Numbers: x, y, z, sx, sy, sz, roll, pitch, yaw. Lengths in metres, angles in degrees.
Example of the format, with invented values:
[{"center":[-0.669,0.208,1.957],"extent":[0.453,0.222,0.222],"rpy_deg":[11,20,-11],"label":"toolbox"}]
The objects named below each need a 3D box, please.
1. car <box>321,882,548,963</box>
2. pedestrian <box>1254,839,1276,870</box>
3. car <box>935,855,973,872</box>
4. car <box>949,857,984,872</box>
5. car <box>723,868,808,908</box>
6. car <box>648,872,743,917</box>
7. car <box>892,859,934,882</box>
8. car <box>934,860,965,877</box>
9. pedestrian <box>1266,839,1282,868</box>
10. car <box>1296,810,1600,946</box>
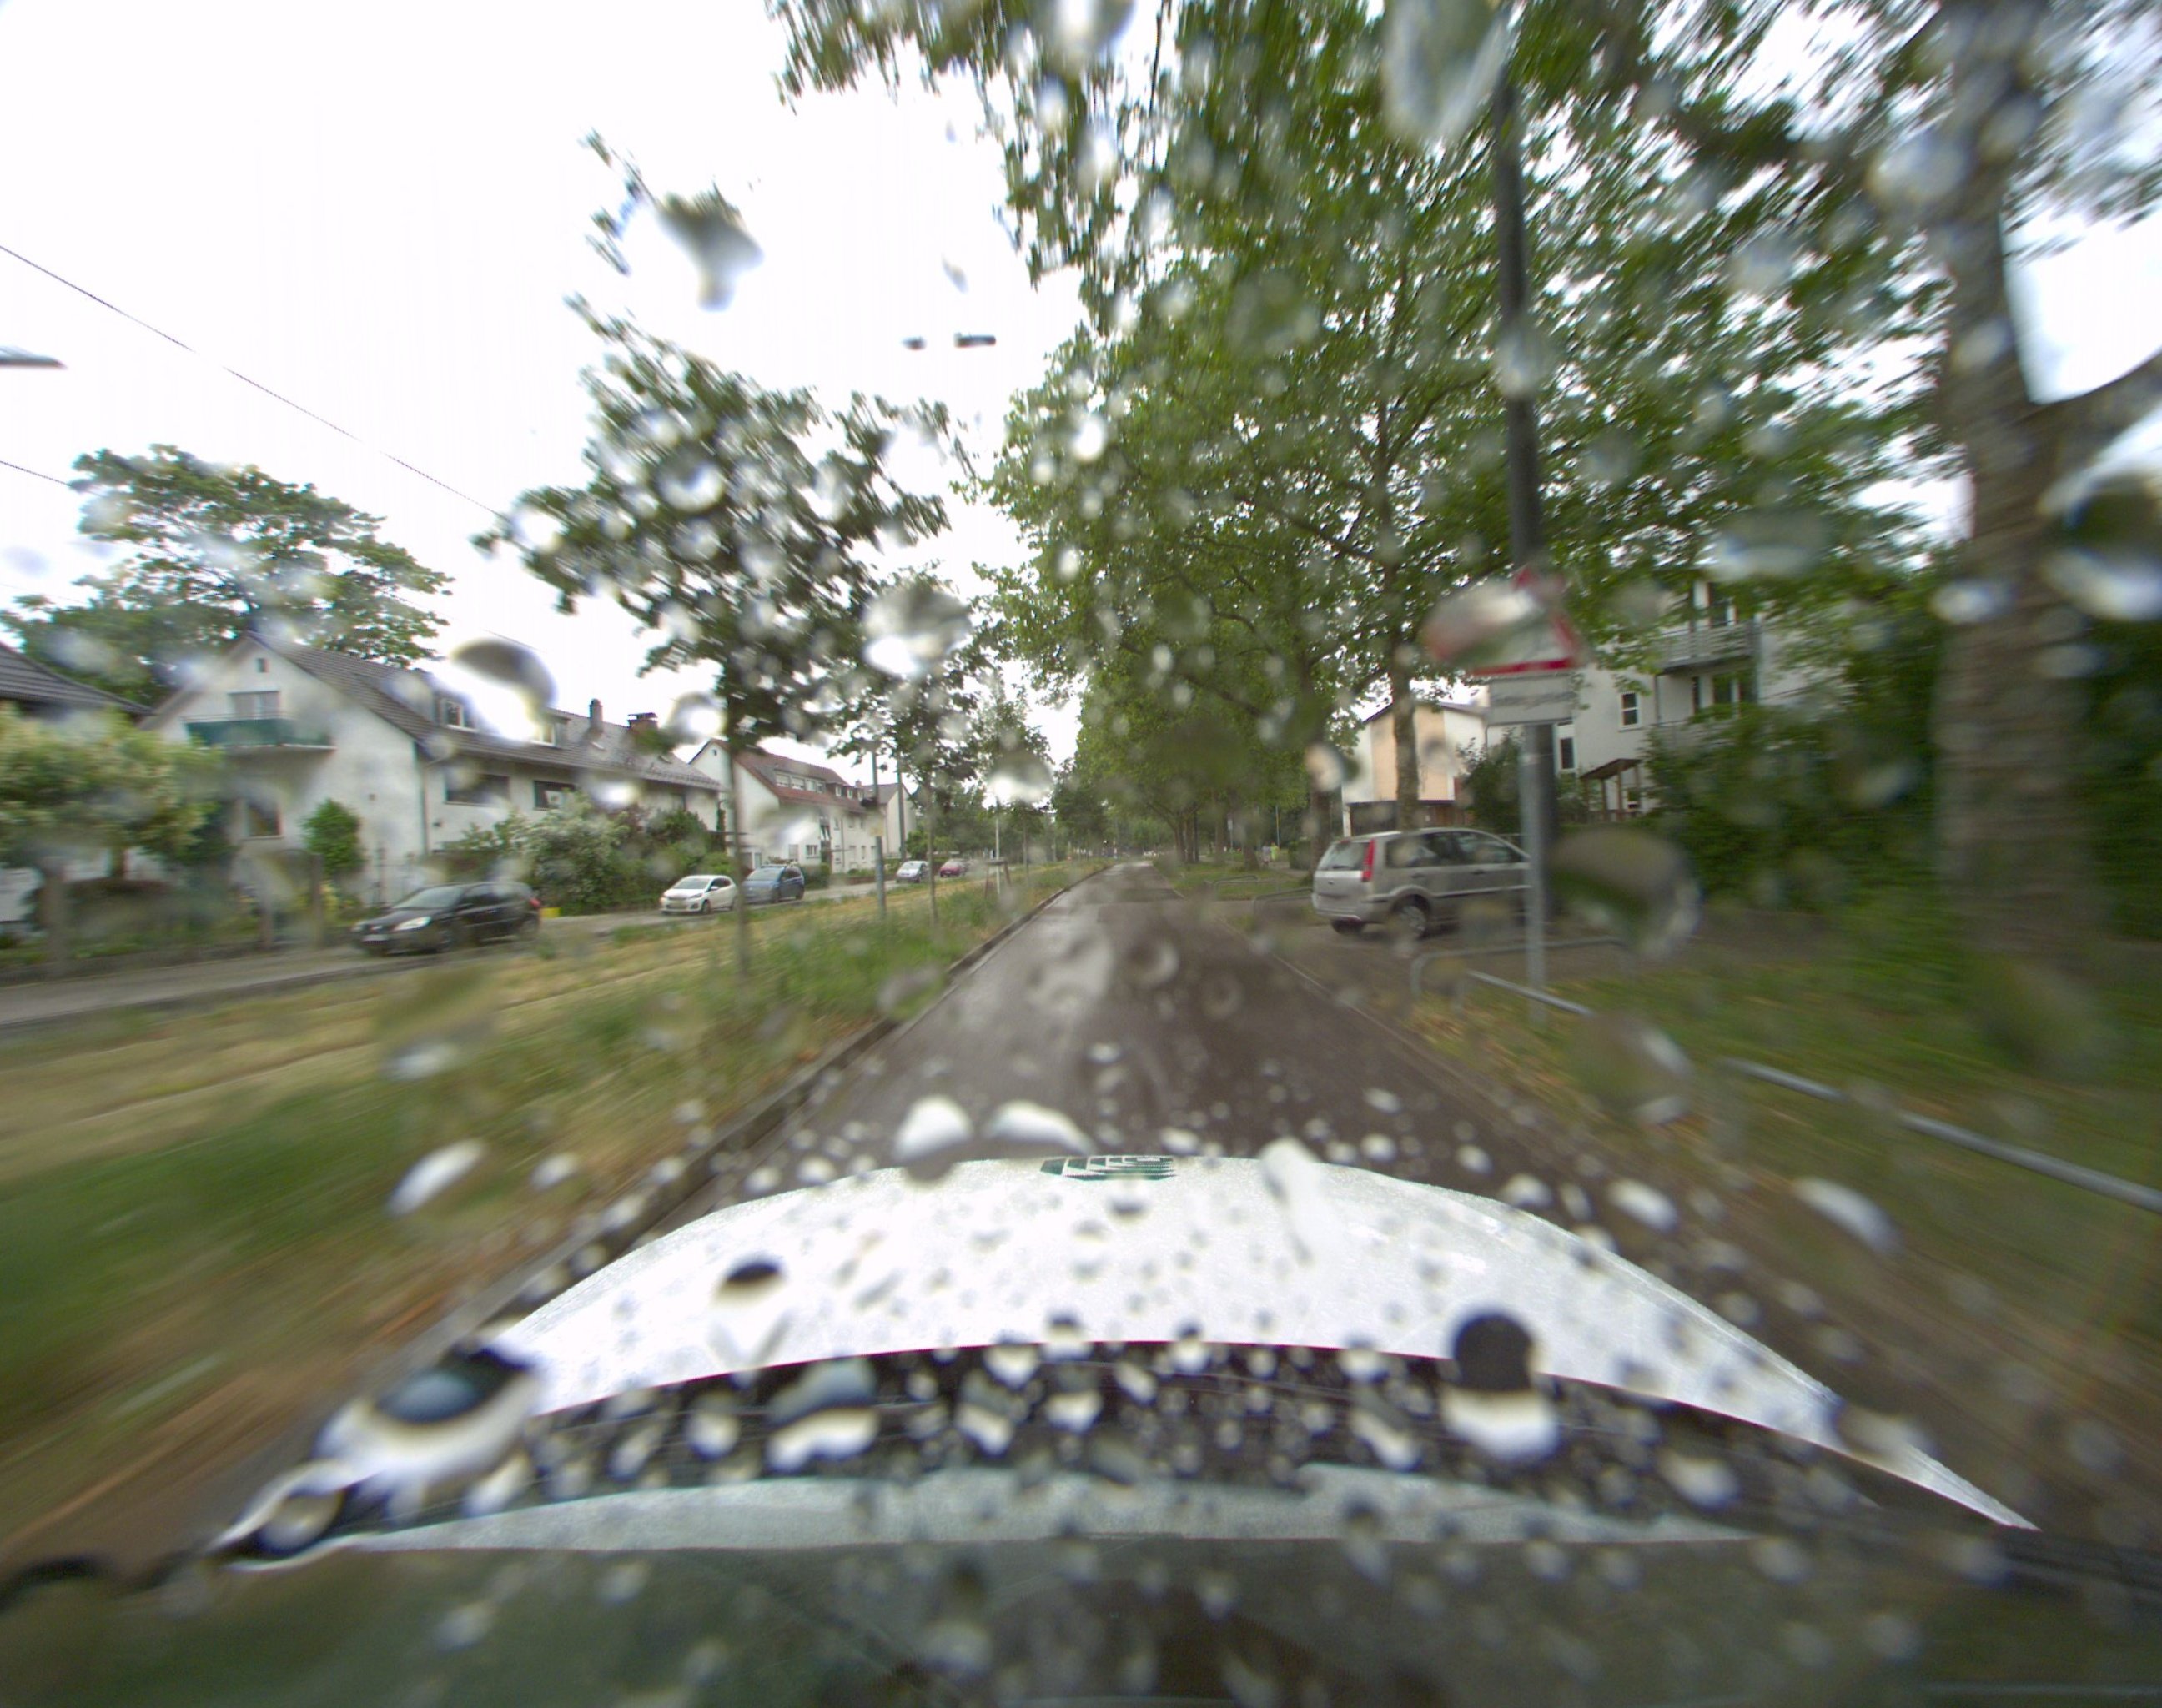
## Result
[{"center":[-15.457,1.576,19.830],"extent":[1.985,1.516,4.209],"rpy_deg":[-1,1,3],"label":"car"},{"center":[9.653,0.029,42.686],"extent":[0.831,1.538,0.859],"rpy_deg":[-4,0,-2],"label":"pedestrian"},{"center":[-14.764,1.079,94.799],"extent":[3.973,1.616,2.000],"rpy_deg":[-4,0,1],"label":"car"},{"center":[-14.429,1.301,102.947],"extent":[3.973,1.616,2.000],"rpy_deg":[-4,0,1],"label":"car"},{"center":[-14.669,1.543,38.142],"extent":[1.985,1.614,4.417],"rpy_deg":[-1,1,3],"label":"car"},{"center":[-14.902,1.523,31.674],"extent":[1.788,1.488,3.600],"rpy_deg":[-1,1,3],"label":"car"},{"center":[-12.737,1.229,62.086],"extent":[1.985,1.581,4.521],"rpy_deg":[-1,1,3],"label":"car"},{"center":[-12.190,1.334,75.877],"extent":[1.985,1.488,4.209],"rpy_deg":[-1,1,3],"label":"car"},{"center":[10.569,-0.020,44.669],"extent":[0.555,1.538,0.966],"rpy_deg":[-4,0,-2],"label":"pedestrian"},{"center":[5.415,0.306,12.165],"extent":[3.859,1.566,1.612],"rpy_deg":[-5,0,-13],"label":"car"}]
